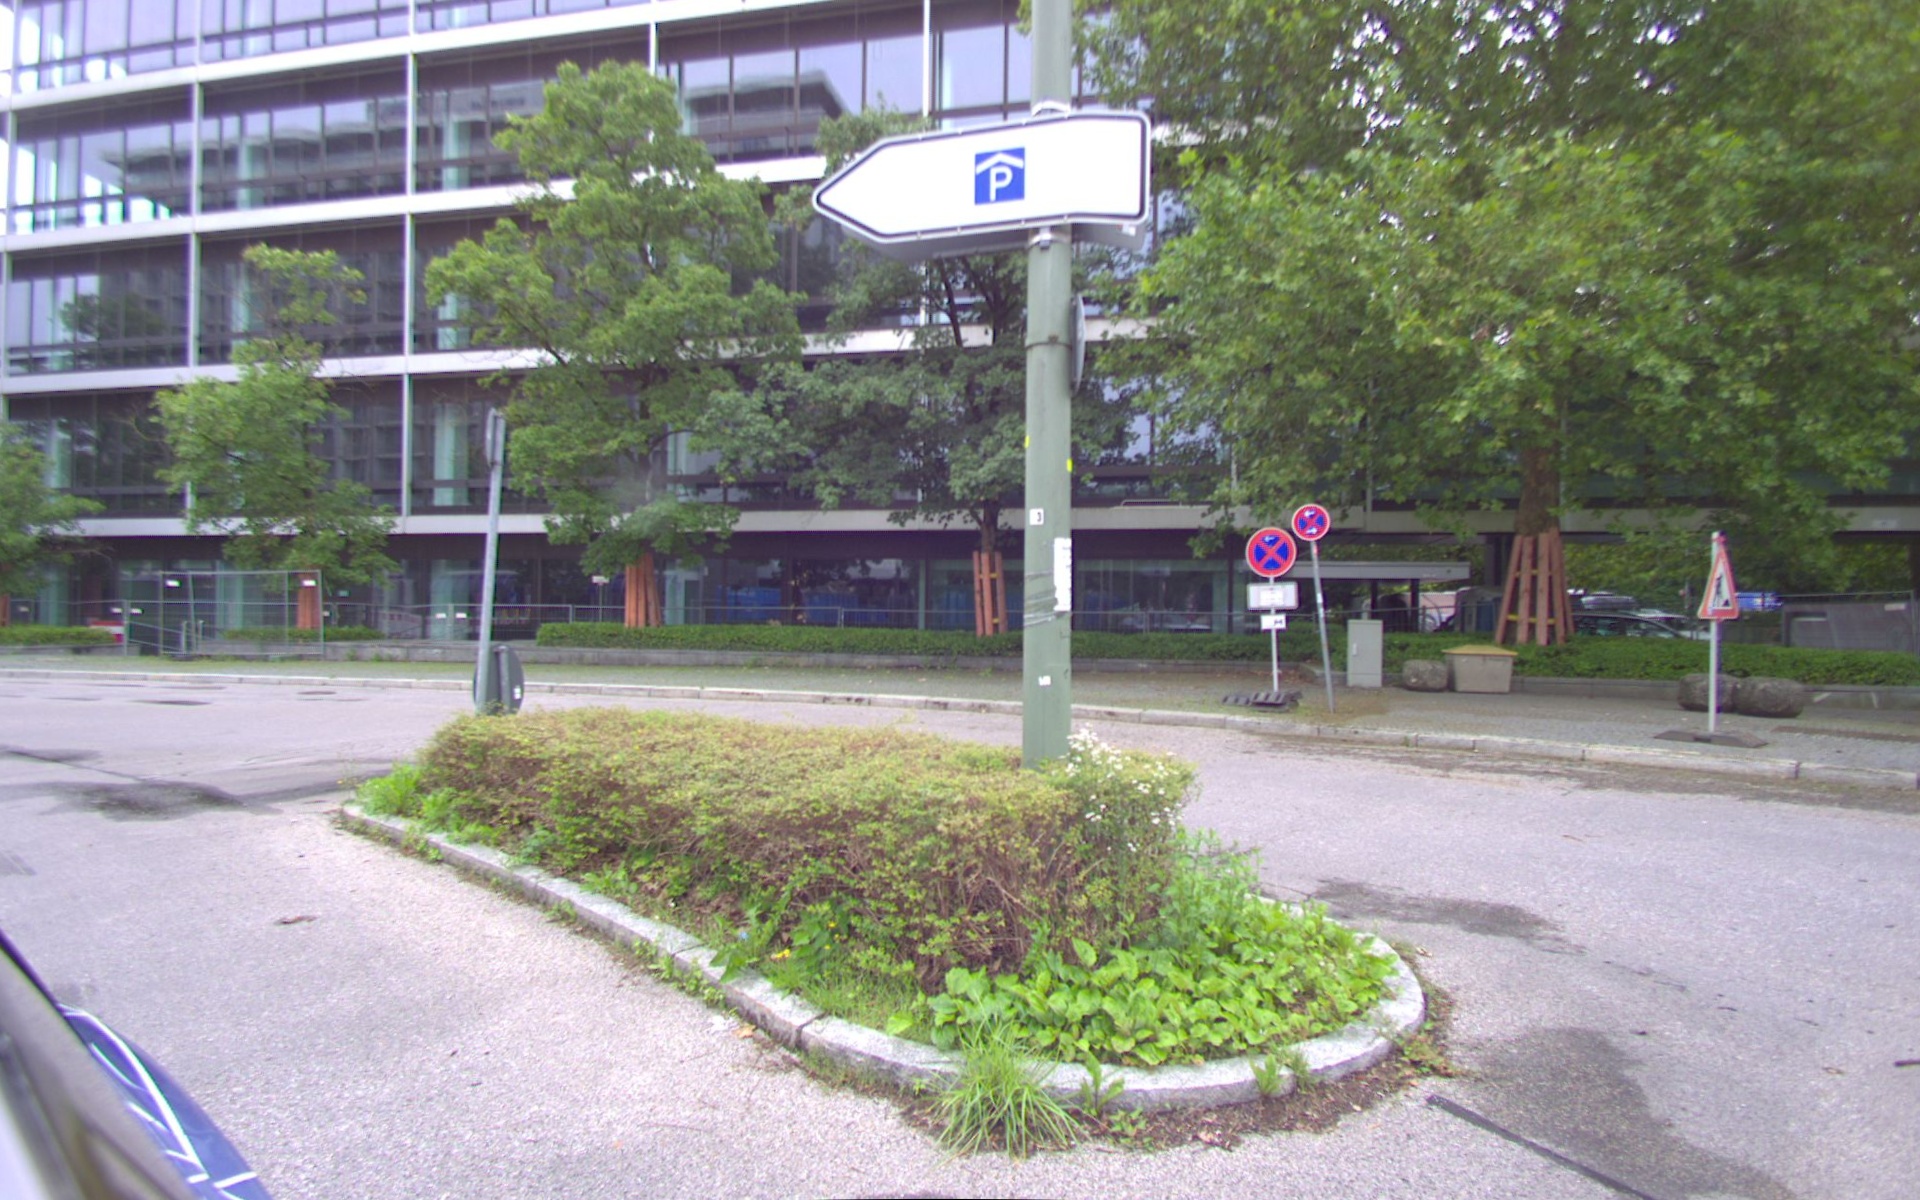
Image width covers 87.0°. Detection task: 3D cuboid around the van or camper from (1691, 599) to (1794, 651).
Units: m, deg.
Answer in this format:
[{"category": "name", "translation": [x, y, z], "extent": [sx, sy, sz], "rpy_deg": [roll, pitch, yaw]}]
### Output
[{"category": "van or camper", "translation": [41.085, 1.300, 53.313], "extent": [2.252, 2.615, 4.639], "rpy_deg": [0, -1, 8]}]

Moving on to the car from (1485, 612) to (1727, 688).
[{"category": "car", "translation": [13.323, 0.998, 21.141], "extent": [3.824, 1.484, 1.904], "rpy_deg": [0, -1, 15]}]
